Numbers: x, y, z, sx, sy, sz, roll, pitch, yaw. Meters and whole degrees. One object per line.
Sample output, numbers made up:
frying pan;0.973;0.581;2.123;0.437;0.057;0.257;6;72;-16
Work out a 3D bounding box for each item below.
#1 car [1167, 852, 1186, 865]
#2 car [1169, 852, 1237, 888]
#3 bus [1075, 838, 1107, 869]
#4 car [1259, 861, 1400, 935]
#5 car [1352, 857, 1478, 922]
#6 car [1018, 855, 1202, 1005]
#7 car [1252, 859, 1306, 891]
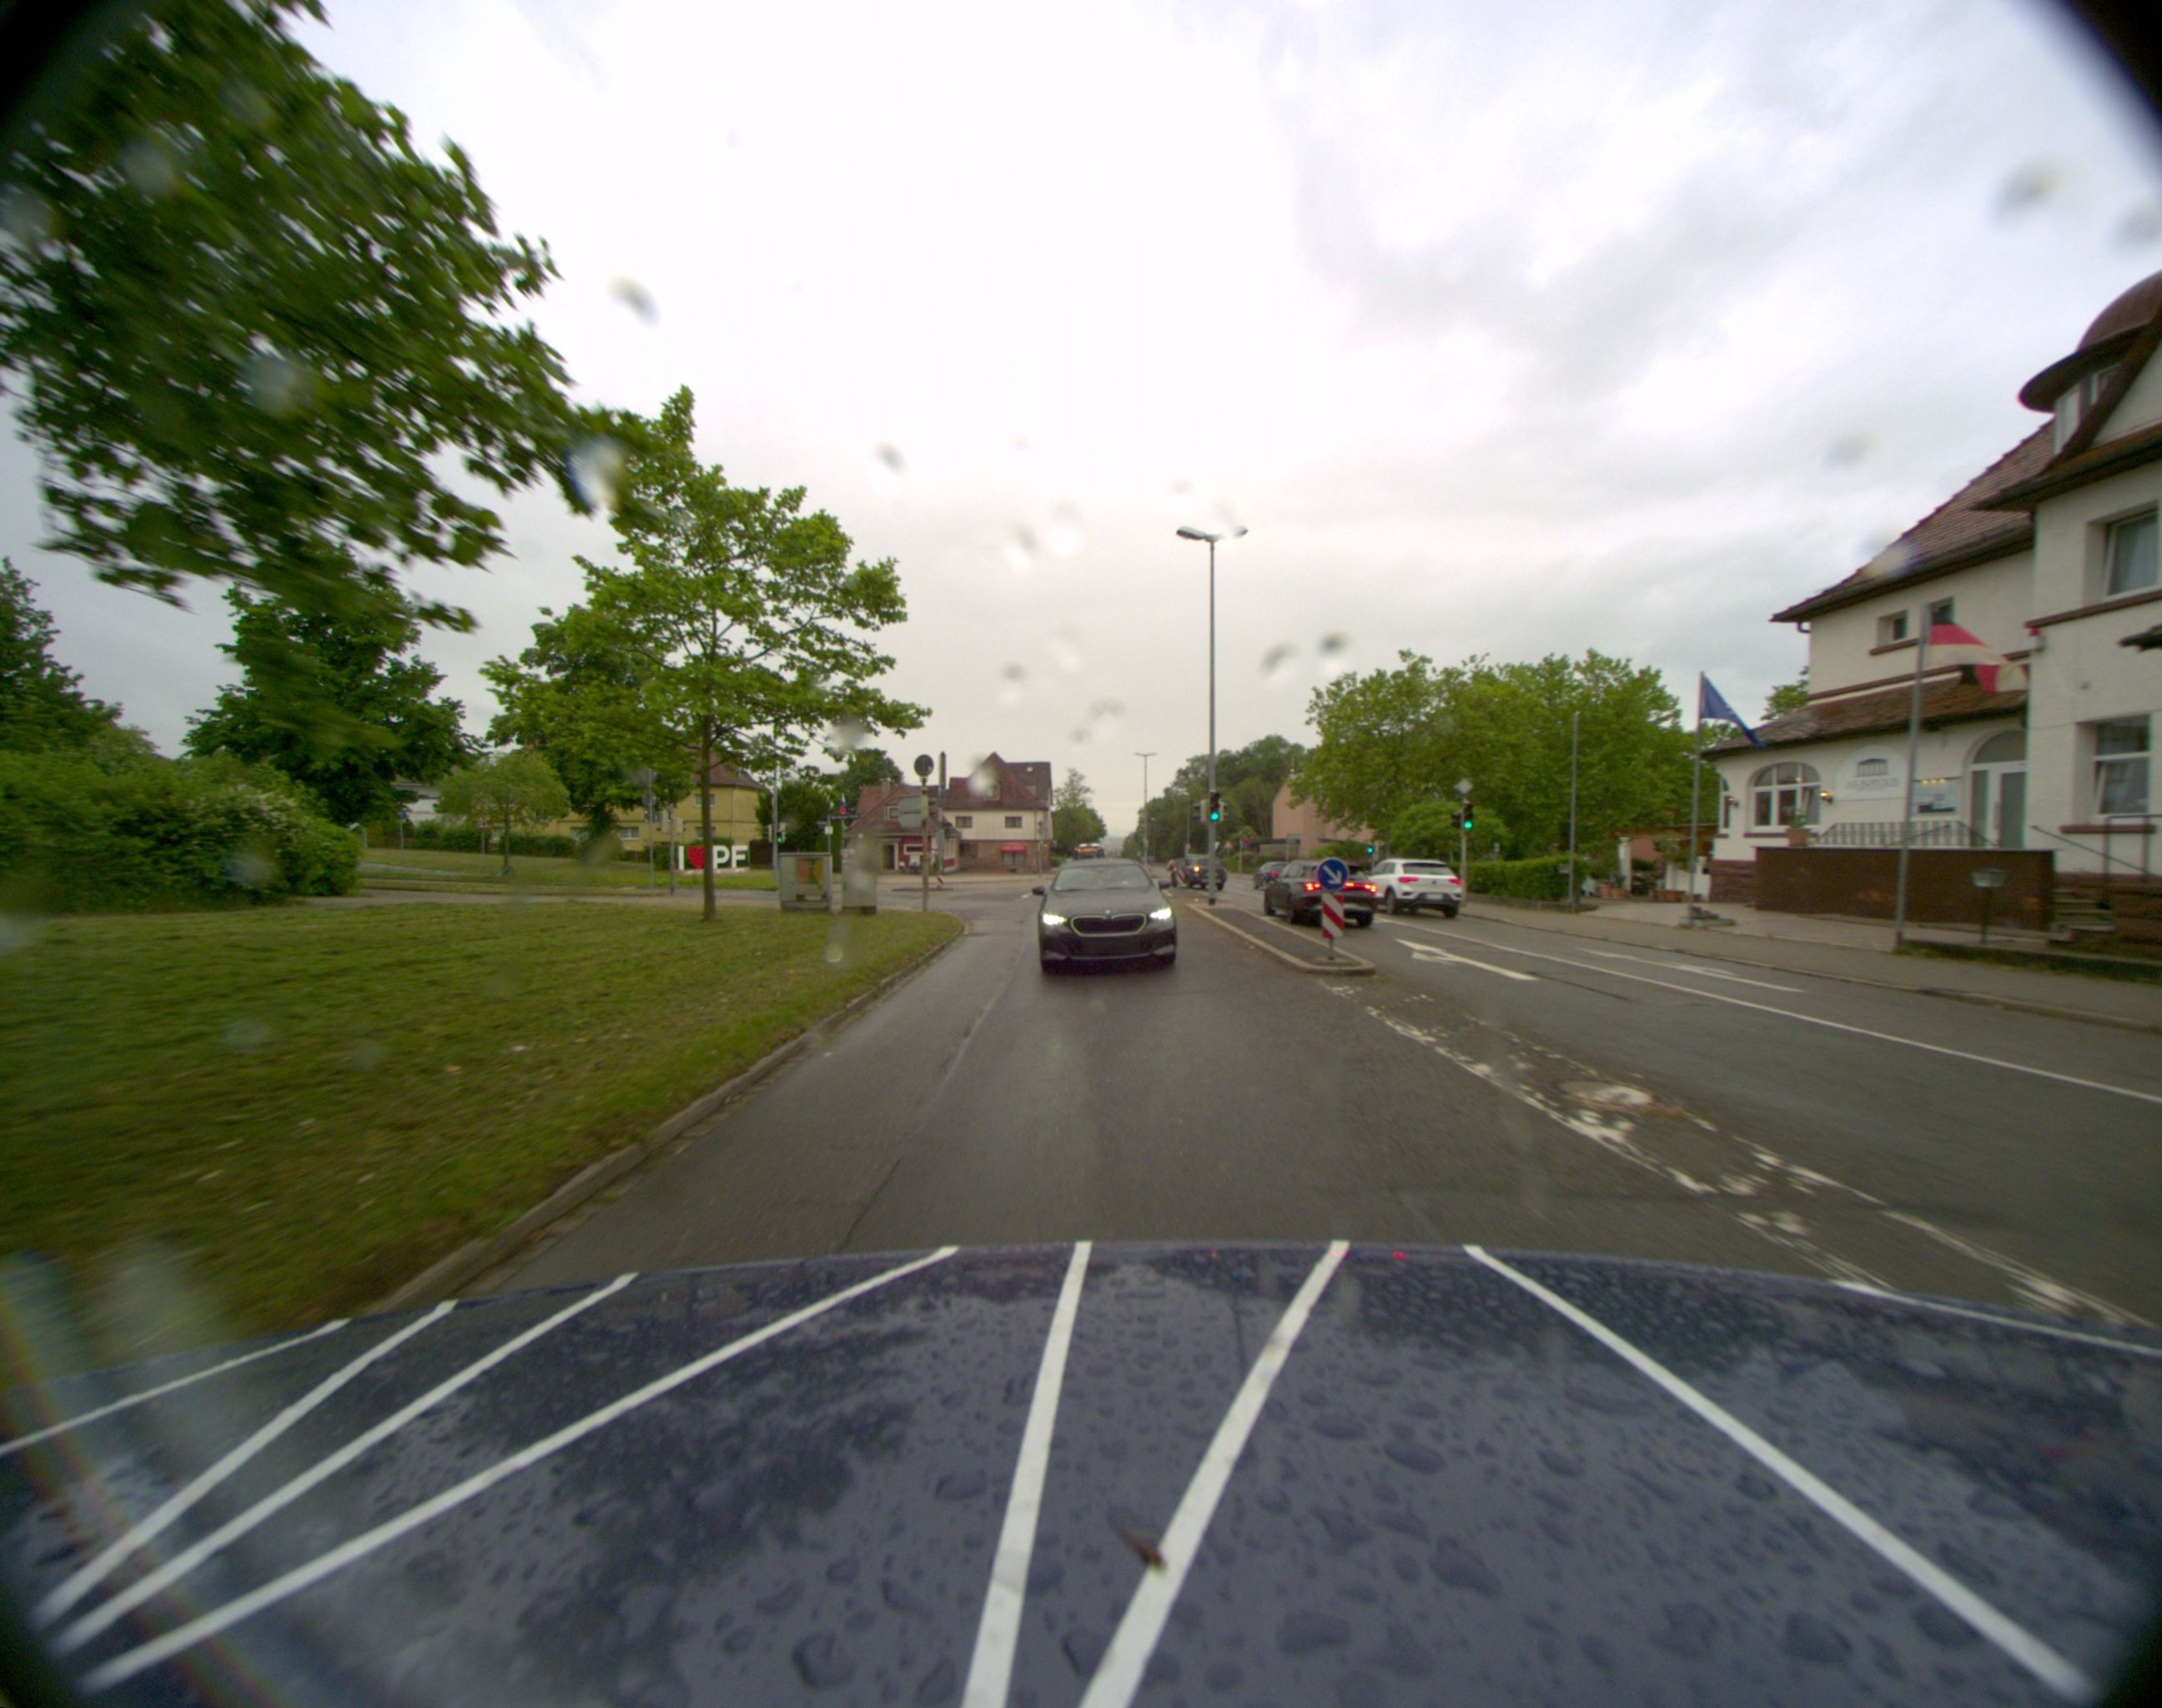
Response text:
car;11.952;0.573;95.252;1.998;1.652;4.304;0;0;3
car;5.834;0.754;36.837;2.000;1.652;4.300;0;0;-9
bus;0.993;-0.074;75.769;2.897;2.770;10.385;-3;1;1
car;5.592;0.918;17.738;1.998;1.420;4.389;2;0;3
car;9.348;0.944;21.677;1.998;1.674;4.001;1;-1;3
car;0.298;0.870;10.695;1.999;1.586;4.147;-3;0;-1
car;9.787;1.005;37.875;1.771;1.412;4.106;3;0;3
